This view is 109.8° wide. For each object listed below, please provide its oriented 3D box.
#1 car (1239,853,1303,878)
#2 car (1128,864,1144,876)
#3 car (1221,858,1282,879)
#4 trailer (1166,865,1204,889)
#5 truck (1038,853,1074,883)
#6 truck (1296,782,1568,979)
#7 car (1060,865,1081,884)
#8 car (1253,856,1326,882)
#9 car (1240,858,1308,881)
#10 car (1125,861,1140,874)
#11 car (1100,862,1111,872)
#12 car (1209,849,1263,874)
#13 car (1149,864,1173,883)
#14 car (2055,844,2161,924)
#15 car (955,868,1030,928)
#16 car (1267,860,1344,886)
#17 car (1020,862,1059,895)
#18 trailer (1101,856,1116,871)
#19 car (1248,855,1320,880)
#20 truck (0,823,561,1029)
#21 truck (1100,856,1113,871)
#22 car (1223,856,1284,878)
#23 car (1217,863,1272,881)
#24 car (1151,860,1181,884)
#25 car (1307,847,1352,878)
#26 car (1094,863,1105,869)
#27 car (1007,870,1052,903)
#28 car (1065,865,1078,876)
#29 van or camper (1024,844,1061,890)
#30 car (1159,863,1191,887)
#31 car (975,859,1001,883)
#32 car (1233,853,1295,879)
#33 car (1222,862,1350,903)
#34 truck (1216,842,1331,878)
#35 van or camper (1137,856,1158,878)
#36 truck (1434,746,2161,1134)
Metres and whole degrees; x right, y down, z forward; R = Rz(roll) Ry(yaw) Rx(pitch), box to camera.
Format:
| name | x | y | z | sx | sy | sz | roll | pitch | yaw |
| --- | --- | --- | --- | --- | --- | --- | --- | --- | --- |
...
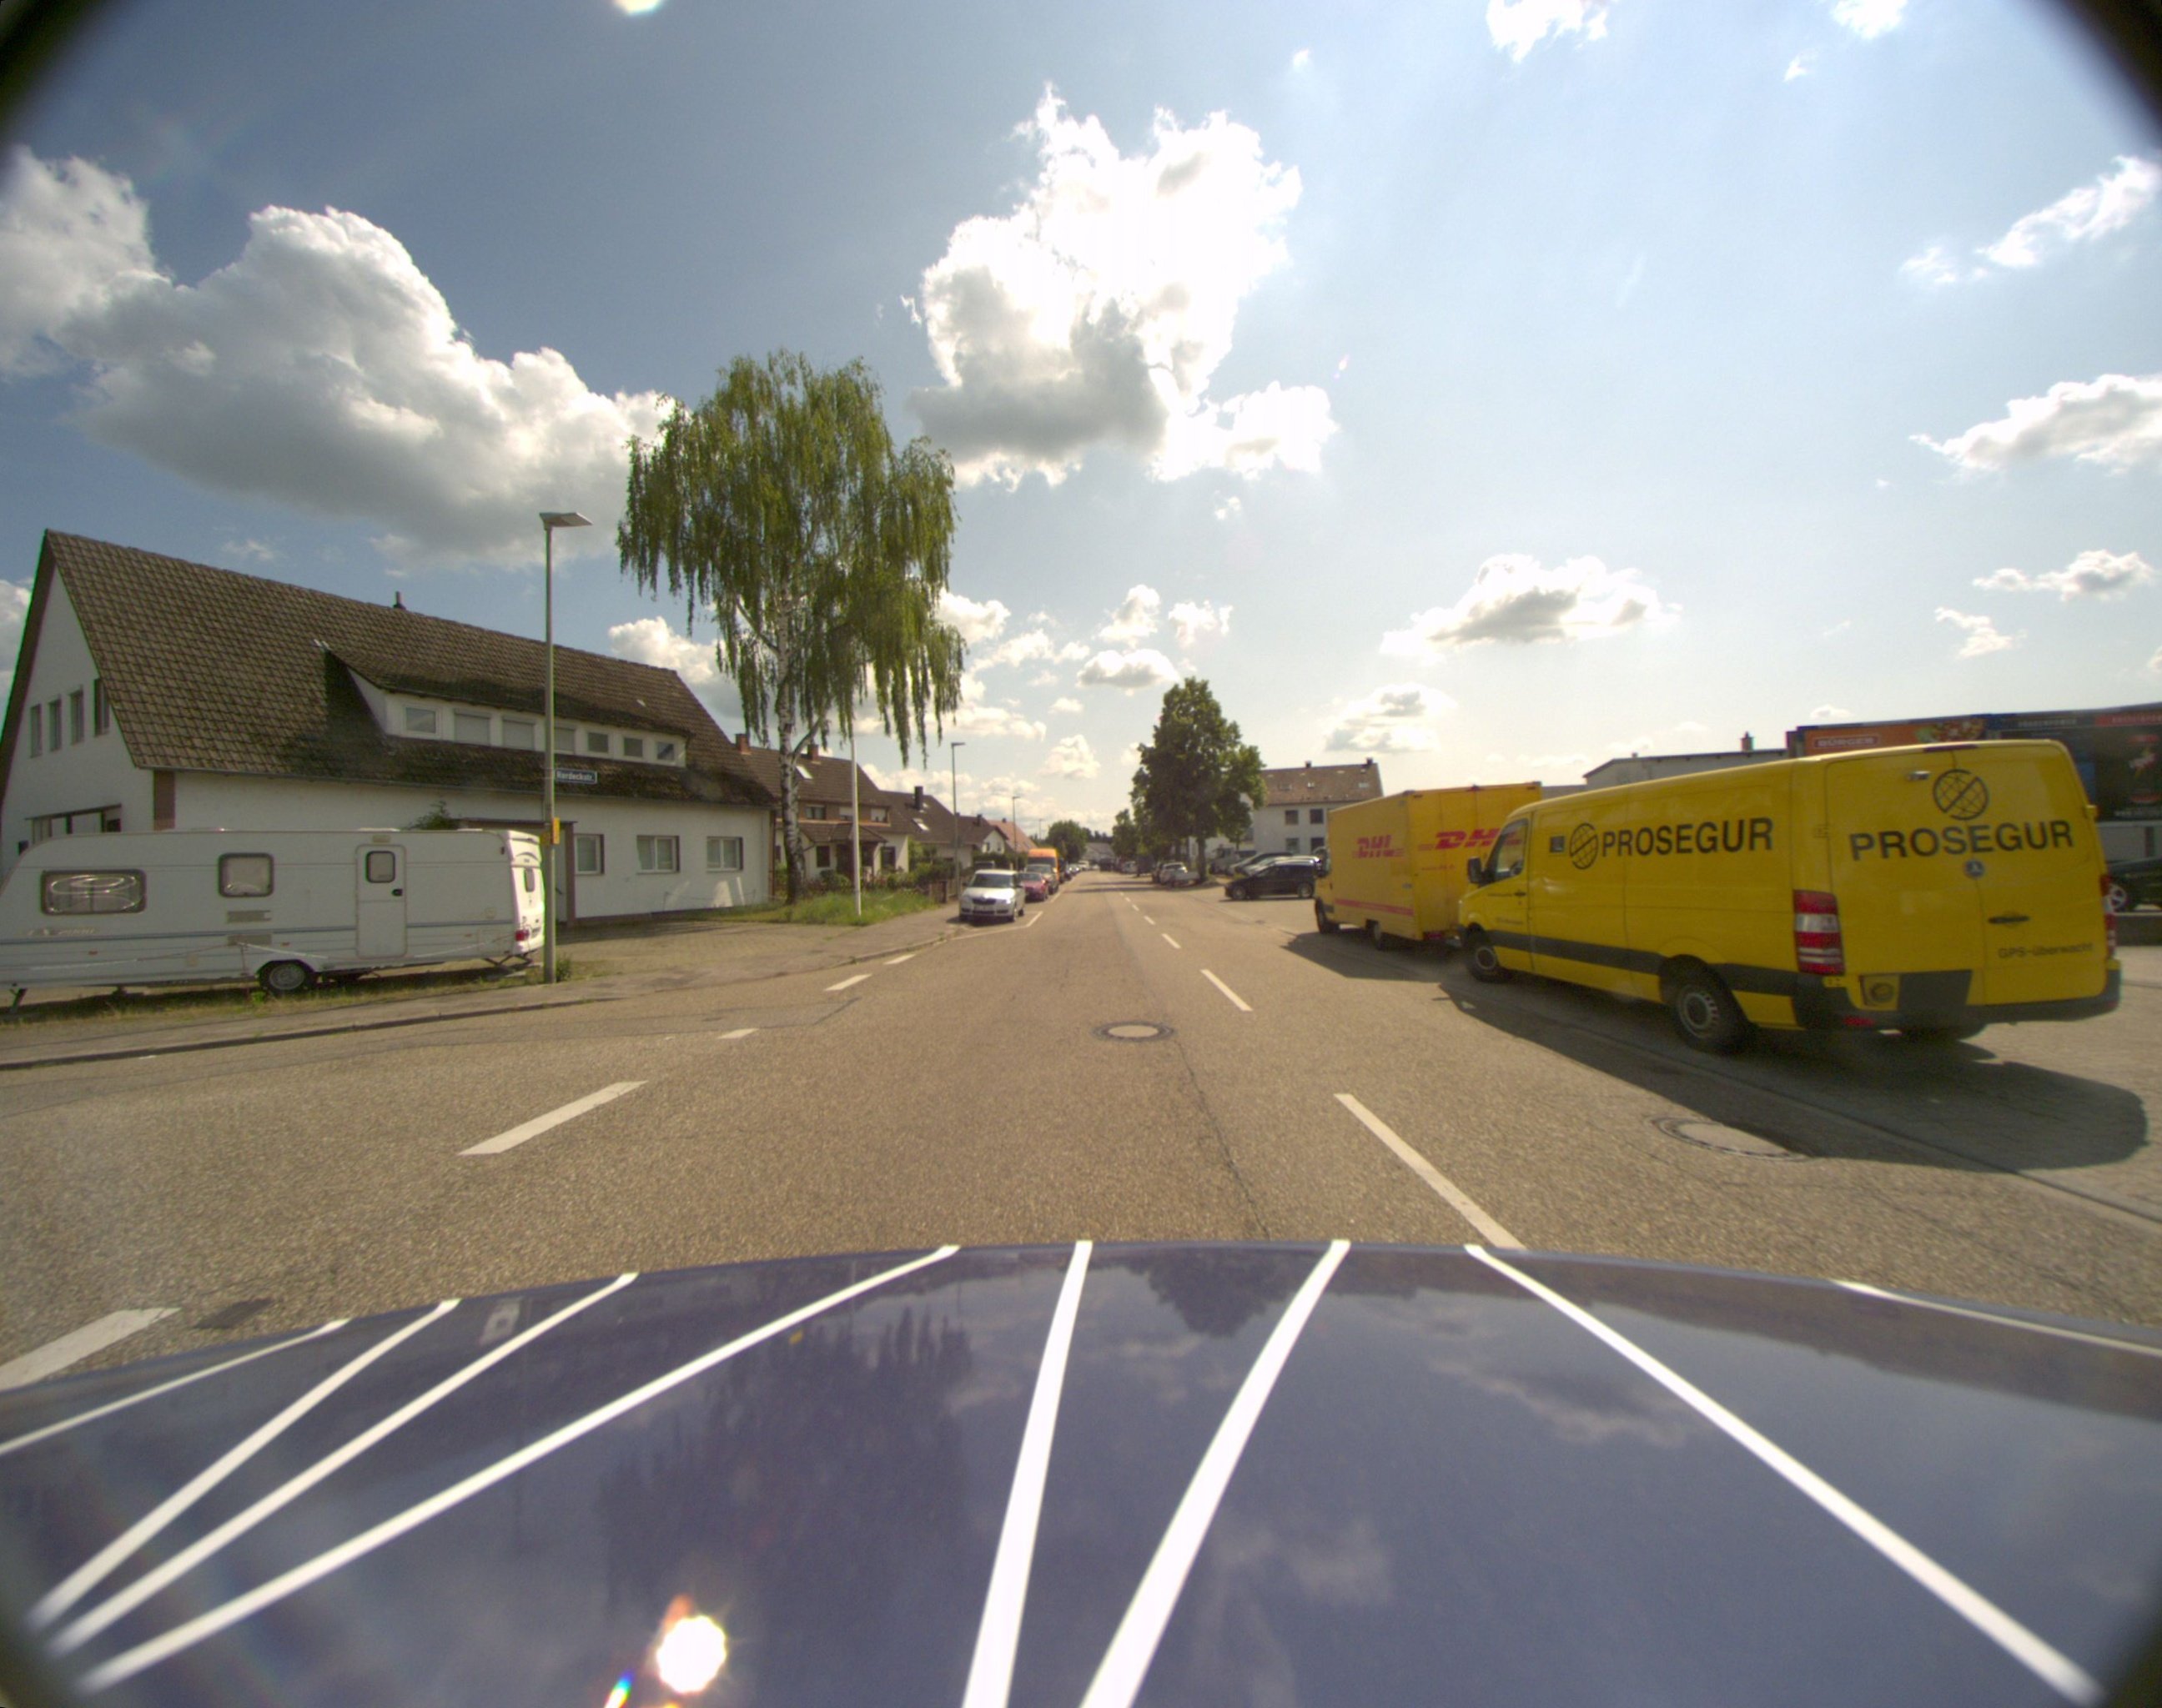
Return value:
| name | x | y | z | sx | sy | sz | roll | pitch | yaw |
| --- | --- | --- | --- | --- | --- | --- | --- | --- | --- |
| car | 13.451 | 0.819 | 53.931 | 4.153 | 1.609 | 1.827 | -1 | 1 | 4 |
| car | 7.935 | 2.343 | 110.121 | 1.753 | 1.452 | 4.709 | -5 | -2 | -2 |
| car | 13.672 | 1.162 | 61.050 | 4.535 | 1.573 | 1.828 | -1 | -1 | 3 |
| trailer | 6.585 | 1.451 | 48.500 | 1.766 | 1.282 | 4.508 | -5 | -1 | 1 |
| truck | -2.037 | 1.172 | 64.440 | 2.528 | 2.286 | 5.896 | -4 | 0 | 1 |
| truck | 6.270 | 0.435 | 14.973 | 2.225 | 2.840 | 7.071 | -3 | 0 | 3 |
| car | -0.980 | 2.004 | 74.835 | 1.834 | 1.652 | 4.554 | -2 | 0 | 1 |
| car | 12.807 | 0.905 | 46.800 | 4.035 | 1.481 | 1.827 | -1 | 0 | 4 |
| car | 13.013 | 1.028 | 51.372 | 4.153 | 1.422 | 1.827 | -1 | 0 | 4 |
| car | 7.872 | 1.996 | 115.966 | 1.814 | 1.795 | 4.491 | -5 | -1 | 0 |
| car | 4.824 | 2.564 | 149.150 | 2.056 | 2.022 | 5.142 | 0 | 0 | 1 |
| car | 15.058 | 0.680 | 73.623 | 5.008 | 2.218 | 2.002 | -2 | 1 | 14 |
| car | 6.665 | 1.592 | 63.823 | 1.703 | 1.474 | 4.160 | -2 | -1 | 2 |
| car | 18.366 | 0.387 | 11.531 | 1.676 | 1.279 | 4.006 | -2 | -4 | -12 |
| car | -2.663 | 1.290 | 23.625 | 1.614 | 1.571 | 4.001 | -3 | 0 | 3 |
| car | 13.039 | 1.079 | 44.382 | 4.035 | 1.366 | 1.828 | -1 | 0 | 6 |
| car | -2.216 | 1.300 | 41.560 | 1.837 | 1.630 | 4.240 | -2 | 0 | 1 |
| trailer | 6.045 | 2.147 | 170.024 | 2.842 | 3.050 | 8.889 | -1 | 0 | -1 |
| car | 13.016 | 0.851 | 48.951 | 4.153 | 1.481 | 1.827 | -1 | 0 | 4 |
| truck | -12.063 | 0.905 | 11.883 | 6.067 | 2.562 | 2.561 | -2 | 0 | -25 |
| truck | 5.858 | 2.148 | 174.780 | 2.780 | 3.478 | 5.882 | -1 | 0 | 0 |
| car | 13.348 | 1.013 | 58.973 | 4.305 | 1.605 | 1.827 | -1 | -1 | 0 |
| car | 13.601 | 1.526 | 63.308 | 4.206 | 1.450 | 1.679 | -1 | -1 | 3 |
| car | 6.477 | 1.366 | 58.277 | 1.697 | 1.690 | 4.401 | -4 | -1 | 0 |
| car | 17.257 | 0.576 | 52.981 | 1.715 | 2.002 | 4.000 | -1 | 0 | -2 |
| car | 4.506 | 2.993 | 184.852 | 1.818 | 1.513 | 4.269 | -1 | -1 | 10 |
| car | -2.293 | 1.445 | 34.831 | 1.673 | 1.327 | 4.438 | -2 | -1 | 1 |
| car | -1.377 | 2.344 | 107.345 | 1.748 | 1.541 | 4.121 | -1 | -1 | -1 |
| van or camper | -2.330 | 0.786 | 47.179 | 1.999 | 2.648 | 5.769 | -2 | 0 | -1 |
| car | 6.560 | 1.448 | 53.221 | 1.837 | 1.519 | 4.238 | -4 | -1 | 3 |
| car | -7.810 | 1.397 | 64.062 | 1.862 | 1.854 | 5.019 | -1 | 0 | -4 |
| car | 13.484 | 0.879 | 56.147 | 4.153 | 1.778 | 1.827 | -1 | 1 | 4 |
| car | 8.313 | 1.178 | 30.960 | 4.581 | 1.386 | 2.004 | -4 | 0 | 35 |
| truck | 16.479 | 0.510 | 65.619 | 9.277 | 2.839 | 2.722 | -1 | -1 | 5 |
| van or camper | 7.570 | 1.455 | 86.540 | 1.998 | 2.303 | 5.935 | -5 | 0 | 3 |
| truck | 5.976 | 0.576 | 7.822 | 1.998 | 2.399 | 6.065 | -2 | 0 | 2 |
